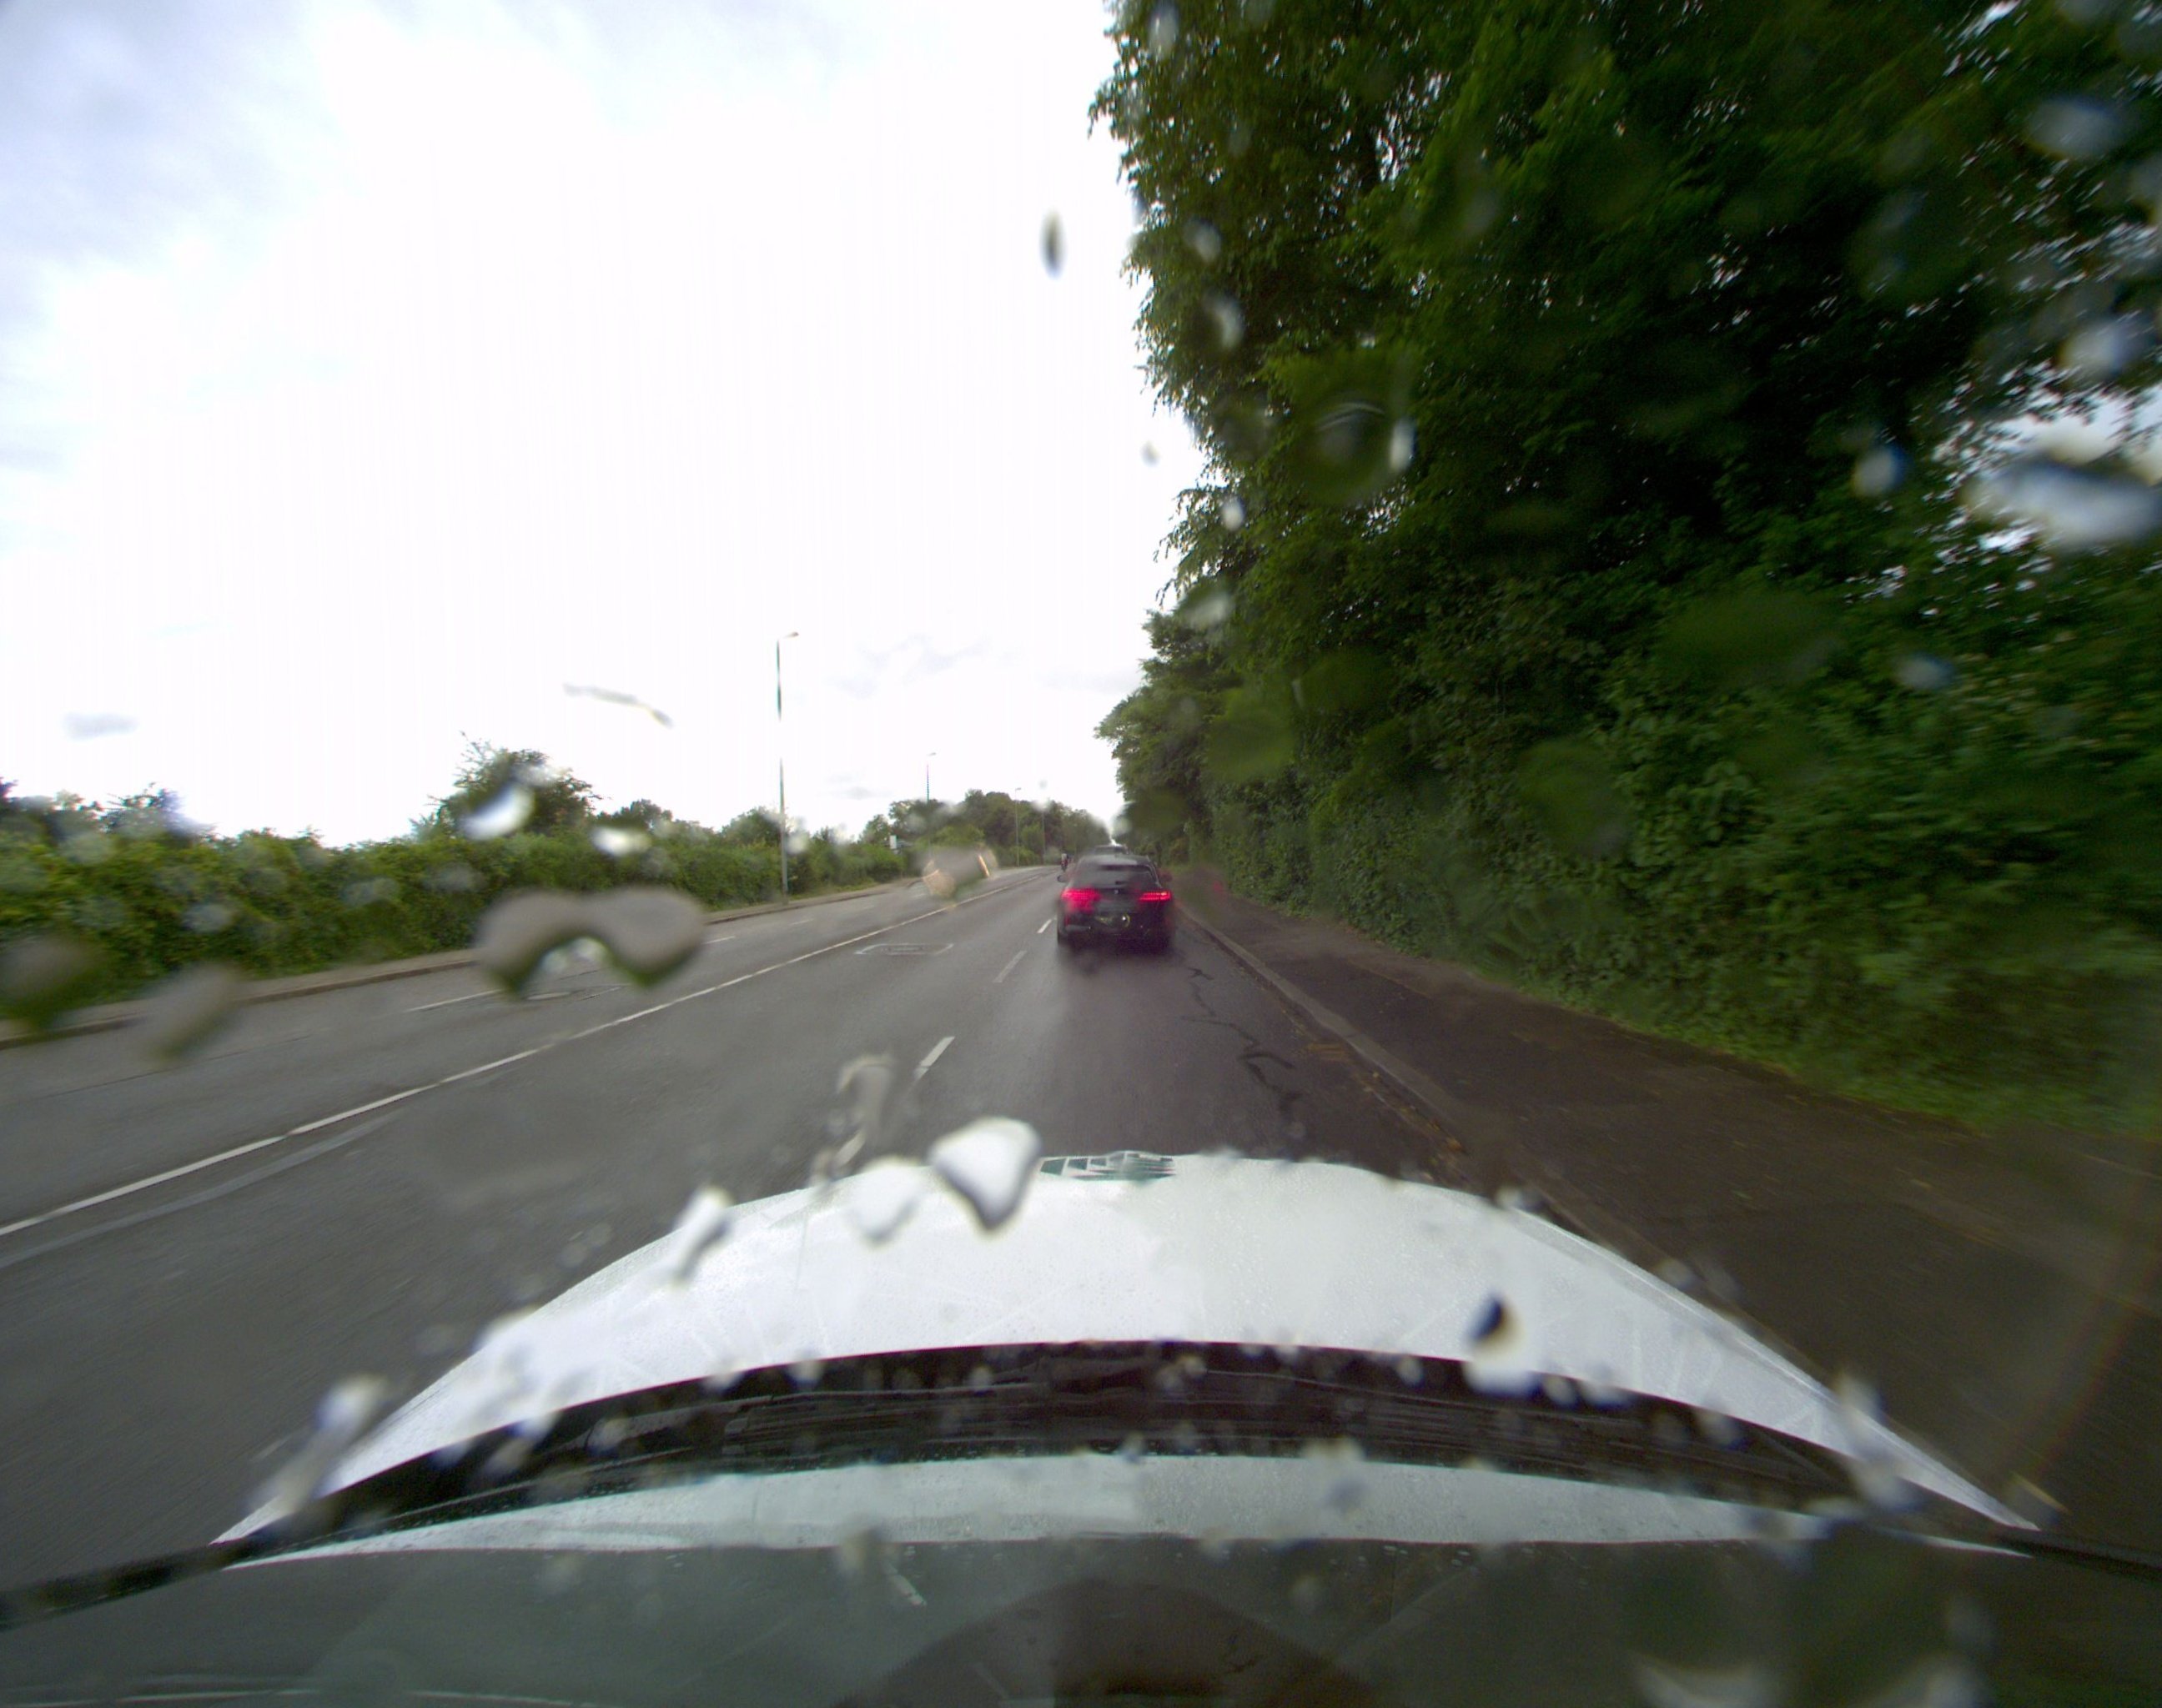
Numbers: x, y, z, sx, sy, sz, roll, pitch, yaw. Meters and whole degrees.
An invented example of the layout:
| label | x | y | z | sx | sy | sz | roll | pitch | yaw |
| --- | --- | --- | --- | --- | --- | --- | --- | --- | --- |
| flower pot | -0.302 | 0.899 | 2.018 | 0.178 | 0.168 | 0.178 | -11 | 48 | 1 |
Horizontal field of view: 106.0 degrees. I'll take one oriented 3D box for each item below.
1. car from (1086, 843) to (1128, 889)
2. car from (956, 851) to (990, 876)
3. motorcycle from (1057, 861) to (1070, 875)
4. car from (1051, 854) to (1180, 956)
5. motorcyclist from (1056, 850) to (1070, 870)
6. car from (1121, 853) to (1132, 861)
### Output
| label | x | y | z | sx | sy | sz | roll | pitch | yaw |
| --- | --- | --- | --- | --- | --- | --- | --- | --- | --- |
| car | 1.145 | 0.468 | 35.295 | 1.623 | 1.833 | 4.002 | -3 | 0 | 2 |
| car | -7.519 | 0.651 | 57.168 | 1.750 | 1.568 | 4.000 | -3 | 0 | 0 |
| motorcycle | -1.384 | 1.097 | 64.221 | 0.872 | 1.124 | 2.742 | 0 | 0 | 2 |
| car | 0.619 | 0.743 | 13.927 | 1.889 | 1.489 | 4.003 | 0 | 0 | 3 |
| motorcyclist | -1.387 | 0.454 | 64.156 | 1.035 | 1.567 | 0.855 | 0 | -1 | 1 |
| car | 8.552 | 0.581 | 152.719 | 1.926 | 1.442 | 4.413 | -2 | 0 | 5 |
